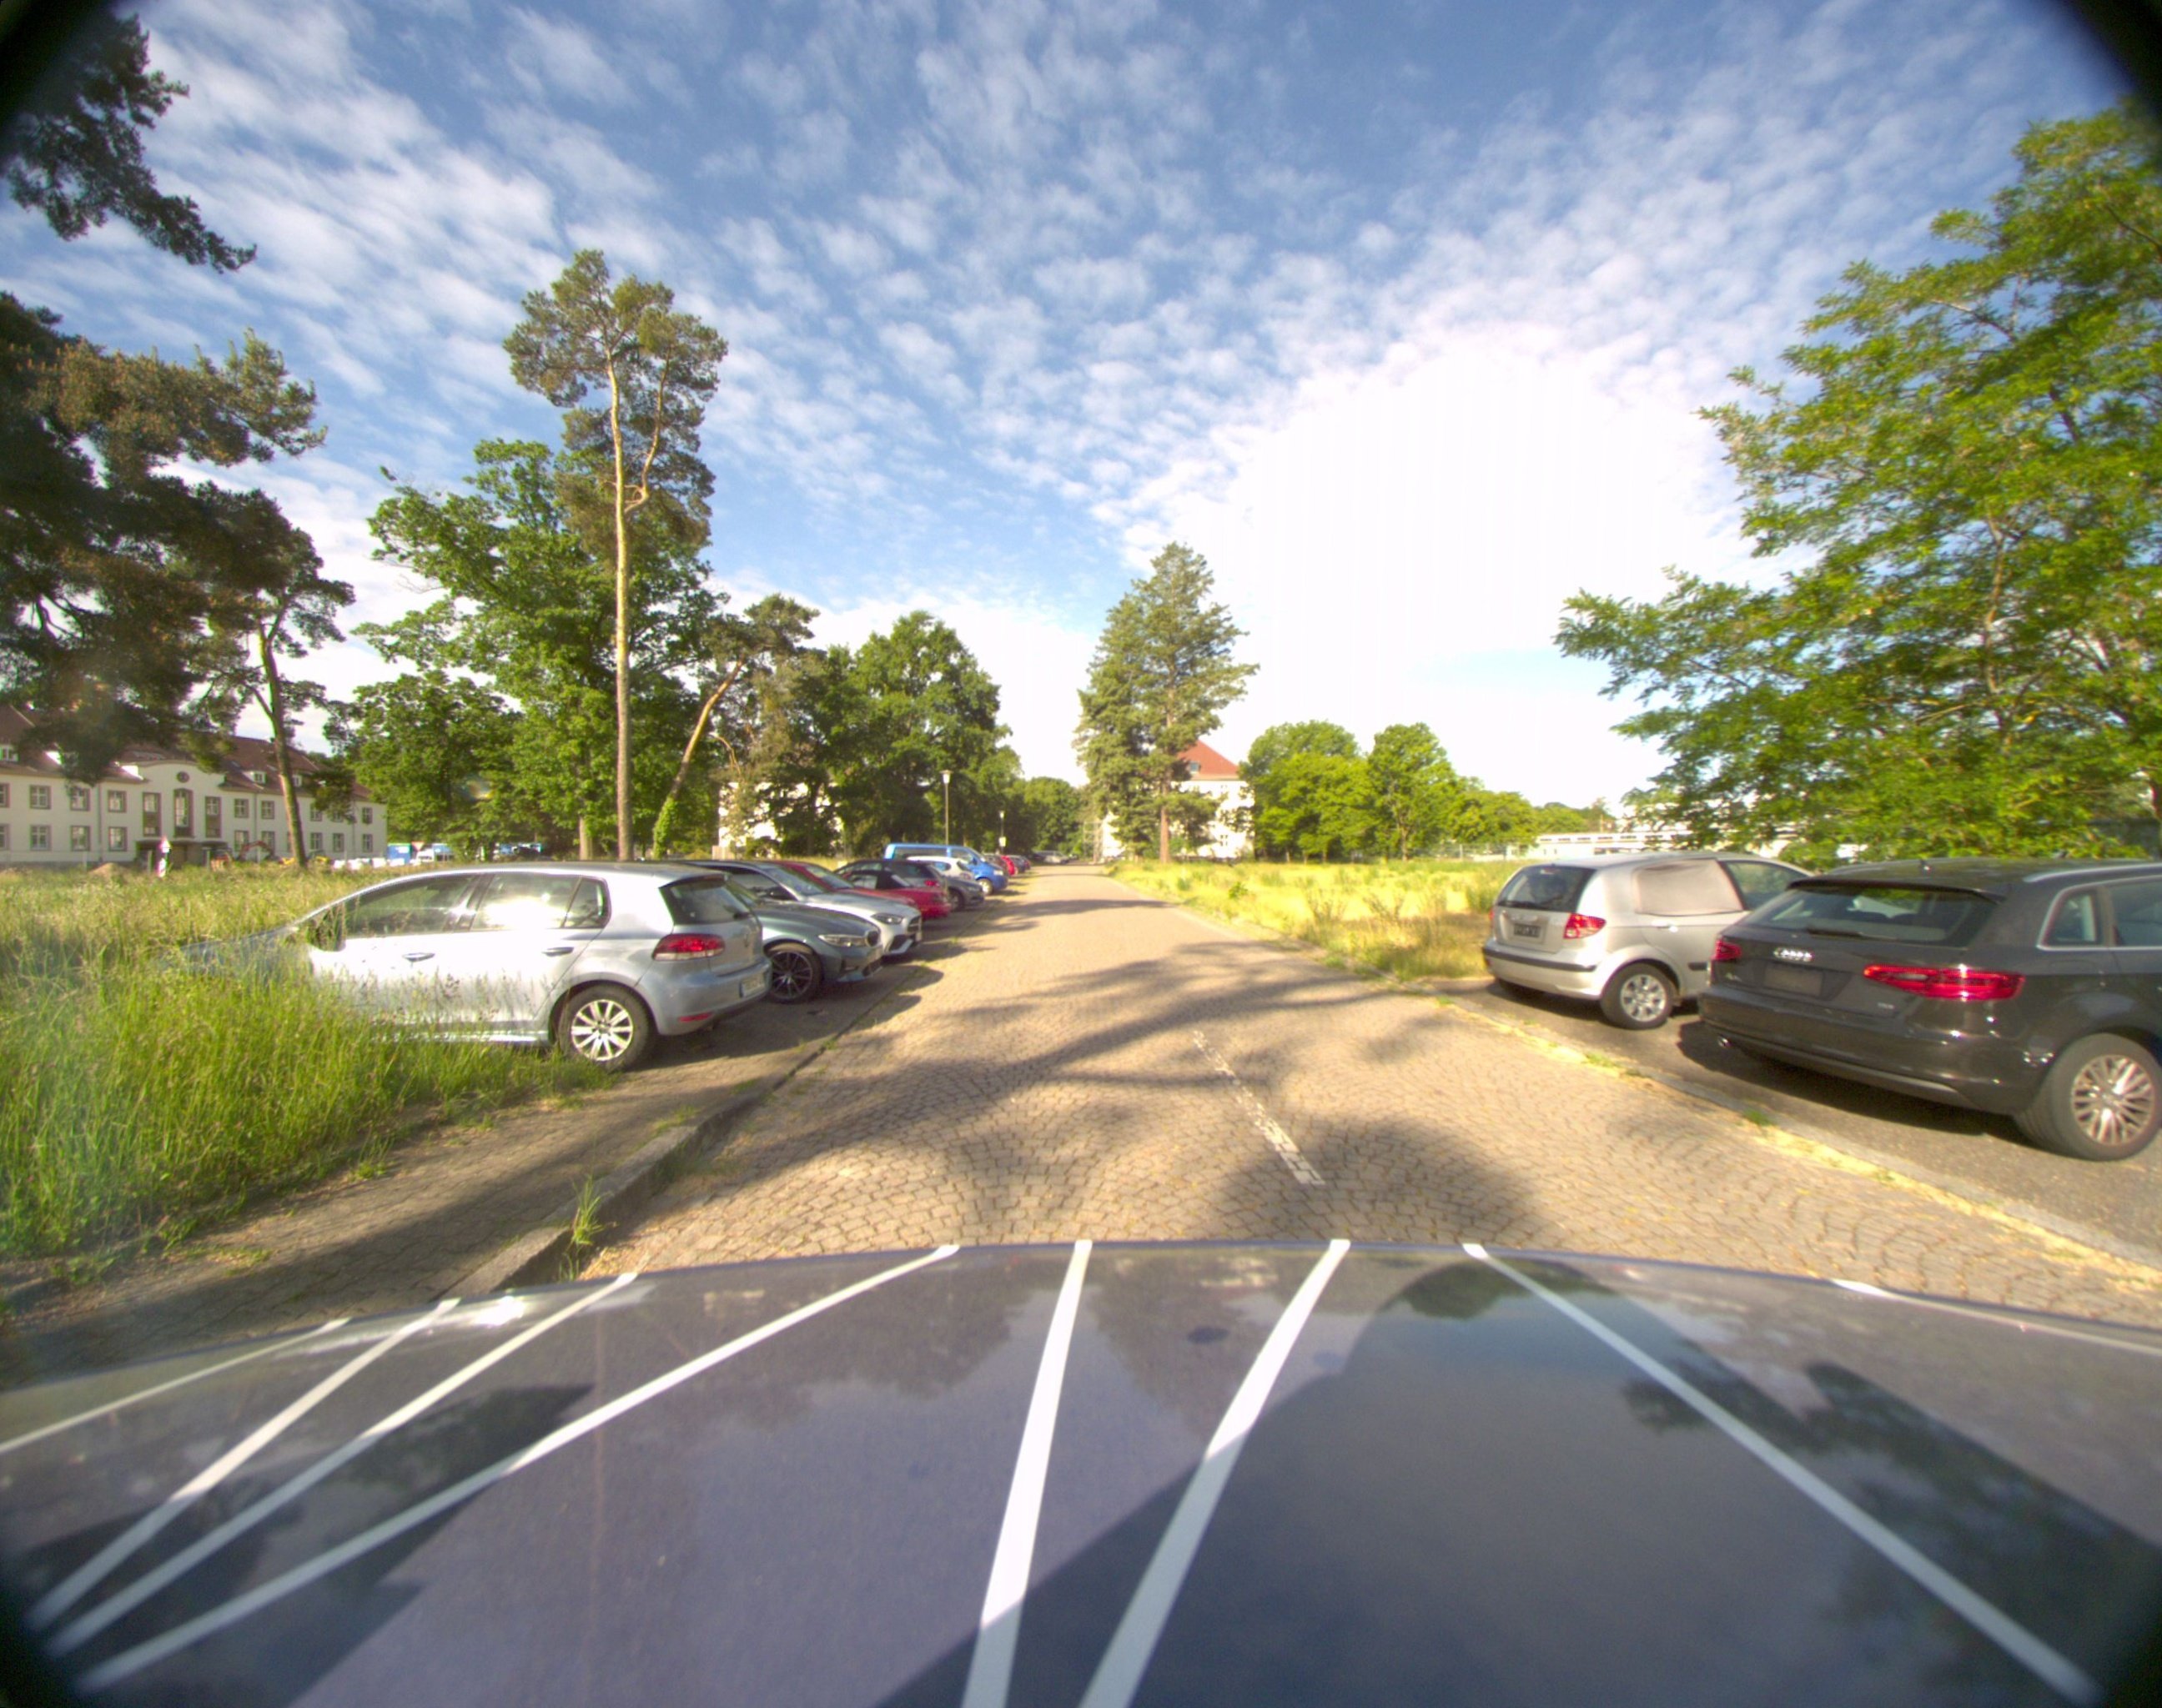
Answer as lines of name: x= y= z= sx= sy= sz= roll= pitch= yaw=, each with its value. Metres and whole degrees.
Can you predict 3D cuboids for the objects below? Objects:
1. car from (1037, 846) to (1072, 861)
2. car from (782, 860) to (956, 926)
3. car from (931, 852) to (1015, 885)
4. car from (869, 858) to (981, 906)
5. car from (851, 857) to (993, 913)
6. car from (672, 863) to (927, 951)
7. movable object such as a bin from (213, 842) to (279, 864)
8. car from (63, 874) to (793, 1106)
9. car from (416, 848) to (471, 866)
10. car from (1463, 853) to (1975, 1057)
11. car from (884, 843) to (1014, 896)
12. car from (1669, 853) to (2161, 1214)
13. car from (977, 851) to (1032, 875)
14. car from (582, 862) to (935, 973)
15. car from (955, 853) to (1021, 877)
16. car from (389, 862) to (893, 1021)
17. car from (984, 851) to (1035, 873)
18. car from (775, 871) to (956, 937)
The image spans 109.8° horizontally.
car: x=-3.932 y=-0.056 z=112.644 sx=5.069 sy=2.251 sz=1.999 roll=0 pitch=1 yaw=-1
car: x=-5.044 y=0.911 z=18.445 sx=3.780 sy=1.482 sz=1.549 roll=0 pitch=1 yaw=-2
car: x=-5.446 y=0.715 z=38.598 sx=3.996 sy=1.630 sz=1.756 roll=0 pitch=1 yaw=1
car: x=-4.930 y=0.872 z=24.290 sx=3.264 sy=1.482 sz=1.449 roll=0 pitch=1 yaw=1
car: x=-4.435 y=0.849 z=21.446 sx=3.621 sy=1.482 sz=1.508 roll=0 pitch=1 yaw=8
car: x=-4.863 y=0.903 z=13.526 sx=3.918 sy=1.385 sz=1.660 roll=1 pitch=1 yaw=-2
movable object such as a bin: x=-92.632 y=-0.137 z=84.390 sx=1.999 sy=2.309 sz=4.984 roll=0 pitch=1 yaw=-5
car: x=-4.624 y=0.932 z=5.949 sx=4.026 sy=1.452 sz=1.870 roll=1 pitch=1 yaw=-2
car: x=-70.539 y=0.324 z=84.151 sx=1.999 sy=2.002 sz=4.772 roll=0 pitch=0 yaw=0
car: x=5.732 y=0.822 z=7.094 sx=3.475 sy=1.462 sz=1.635 roll=-3 pitch=1 yaw=-4
car: x=-5.072 y=0.574 z=29.667 sx=4.727 sy=2.002 sz=2.000 roll=0 pitch=1 yaw=0
car: x=5.963 y=0.820 z=4.408 sx=3.807 sy=1.462 sz=1.687 roll=-3 pitch=1 yaw=-2
car: x=-5.921 y=0.670 z=59.137 sx=3.996 sy=1.731 sz=1.757 roll=-2 pitch=1 yaw=1
car: x=-4.551 y=0.886 z=11.265 sx=4.423 sy=1.394 sz=1.825 roll=1 pitch=1 yaw=-2
car: x=-5.940 y=0.674 z=48.946 sx=3.996 sy=1.509 sz=1.756 roll=0 pitch=1 yaw=1
car: x=-4.559 y=0.896 z=8.493 sx=4.508 sy=1.508 sz=1.825 roll=1 pitch=1 yaw=-5
car: x=-5.997 y=0.690 z=63.829 sx=3.996 sy=1.605 sz=1.756 roll=-3 pitch=2 yaw=3
car: x=-4.396 y=1.016 z=15.825 sx=3.357 sy=1.248 sz=1.419 roll=0 pitch=1 yaw=-2
